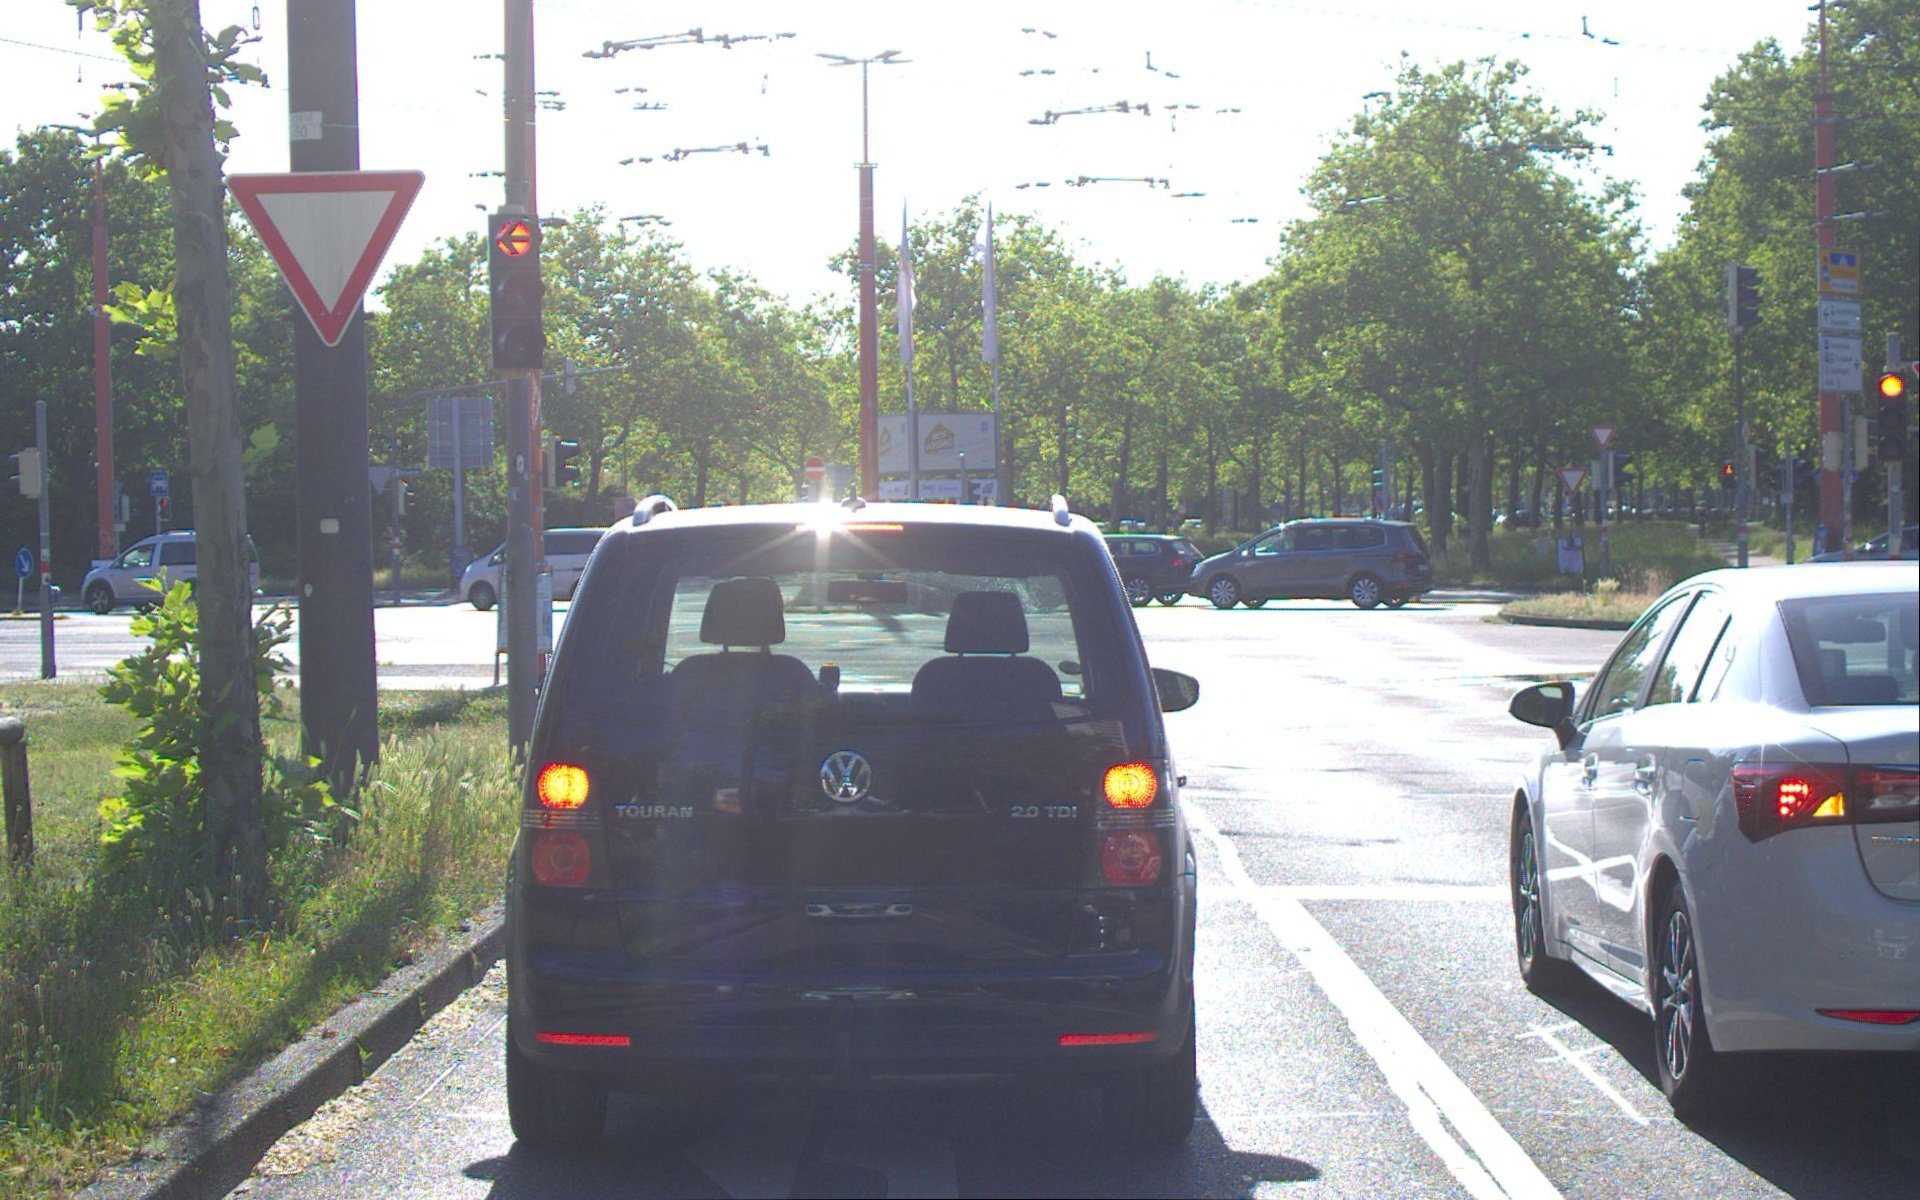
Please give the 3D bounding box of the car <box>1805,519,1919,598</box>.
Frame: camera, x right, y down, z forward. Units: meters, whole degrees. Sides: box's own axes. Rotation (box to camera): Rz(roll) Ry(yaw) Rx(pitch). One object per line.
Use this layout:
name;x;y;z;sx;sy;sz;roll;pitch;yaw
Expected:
car;18.099;-0.757;64.663;3.969;1.436;1.684;1;1;27

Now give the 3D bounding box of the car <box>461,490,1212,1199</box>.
car;-0.311;0.528;9.817;1.700;1.616;3.897;-1;1;-1

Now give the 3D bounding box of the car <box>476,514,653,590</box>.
car;-9.002;-1.090;78.243;3.647;1.650;1.678;1;1;25

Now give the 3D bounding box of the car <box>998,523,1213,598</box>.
car;3.056;-0.834;72.412;4.127;1.505;1.820;1;1;26

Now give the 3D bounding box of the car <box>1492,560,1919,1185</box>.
car;2.721;0.619;10.114;1.720;1.433;4.198;1;1;1

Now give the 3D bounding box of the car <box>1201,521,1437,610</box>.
car;6.958;-0.671;66.741;4.185;1.638;1.757;1;1;27

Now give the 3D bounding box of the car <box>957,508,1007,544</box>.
car;1.079;-3.576;166.474;1.915;1.630;3.999;1;1;7

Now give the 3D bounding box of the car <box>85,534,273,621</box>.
car;-17.777;-0.516;78.214;3.837;1.883;1.762;1;1;23
